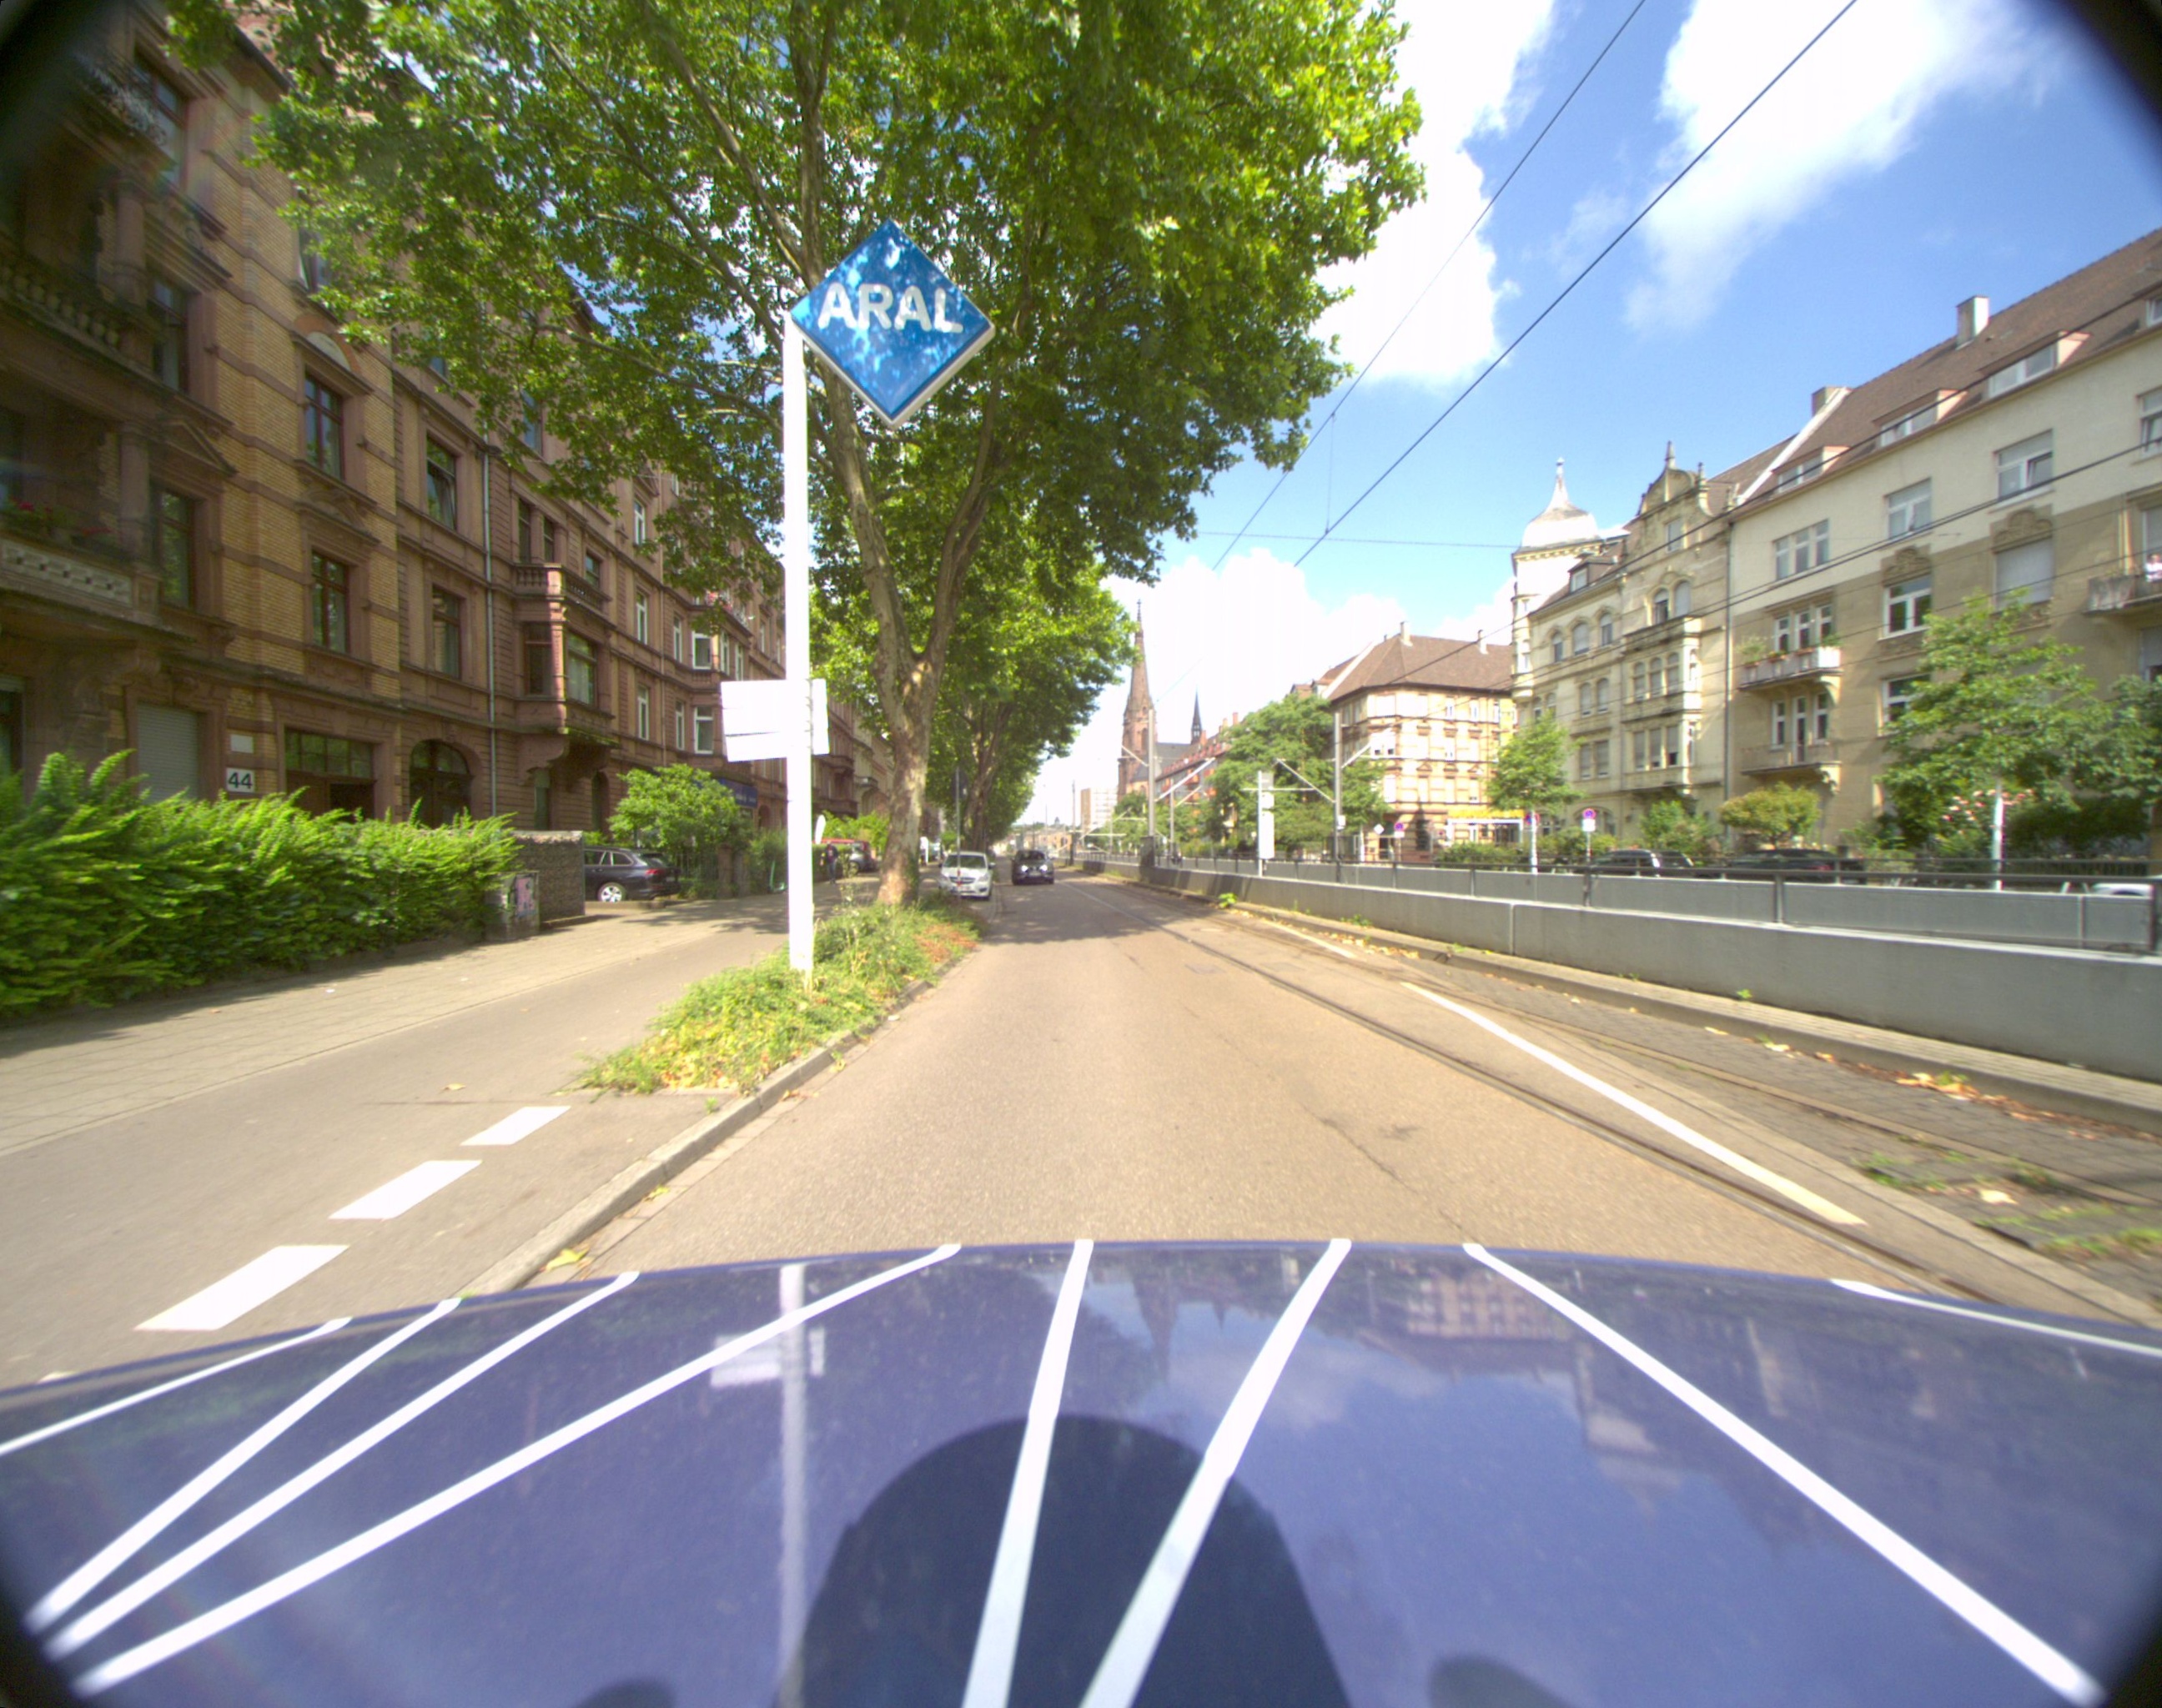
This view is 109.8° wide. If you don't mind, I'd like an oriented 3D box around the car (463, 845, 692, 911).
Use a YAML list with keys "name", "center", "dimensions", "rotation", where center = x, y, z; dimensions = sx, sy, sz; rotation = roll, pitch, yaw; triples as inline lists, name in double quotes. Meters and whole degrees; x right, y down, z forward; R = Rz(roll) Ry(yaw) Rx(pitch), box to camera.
- name: "car"
  center: [-12.116, 0.549, 18.554]
  dimensions: [4.247, 1.461, 1.940]
  rotation: [1, 1, -6]

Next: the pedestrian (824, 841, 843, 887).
- name: "pedestrian"
  center: [-9.816, 0.387, 30.140]
  dimensions: [0.566, 1.776, 0.629]
  rotation: [0, 1, -6]

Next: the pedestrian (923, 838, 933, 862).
- name: "pedestrian"
  center: [-13.151, -0.318, 65.184]
  dimensions: [0.766, 2.002, 1.118]
  rotation: [2, 1, -11]

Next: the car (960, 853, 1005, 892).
- name: "car"
  center: [-3.950, 0.705, 30.769]
  dimensions: [1.683, 1.435, 3.855]
  rotation: [0, 1, -6]

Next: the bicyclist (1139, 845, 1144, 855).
- name: "bicyclist"
  center: [9.134, -0.623, 114.777]
  dimensions: [0.505, 1.535, 0.607]
  rotation: [-1, 1, -7]

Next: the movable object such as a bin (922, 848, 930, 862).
- name: "movable object such as a bin"
  center: [-13.518, 0.065, 66.201]
  dimensions: [0.609, 1.202, 1.057]
  rotation: [2, 1, -12]

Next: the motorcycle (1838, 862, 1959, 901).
- name: "motorcycle"
  center: [21.645, 0.723, 20.164]
  dimensions: [1.766, 0.936, 1.416]
  rotation: [1, 1, -7]

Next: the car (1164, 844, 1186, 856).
- name: "car"
  center: [12.742, -0.566, 103.454]
  dimensions: [2.000, 1.628, 4.111]
  rotation: [0, 1, -6]

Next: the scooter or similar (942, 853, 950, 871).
- name: "scooter or similar"
  center: [-9.048, 0.507, 51.011]
  dimensions: [0.468, 1.204, 1.322]
  rotation: [0, 1, -6]

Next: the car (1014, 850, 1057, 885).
- name: "car"
  center: [-2.159, 0.563, 34.940]
  dimensions: [1.801, 1.454, 4.564]
  rotation: [0, 1, -5]

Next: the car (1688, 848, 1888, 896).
- name: "car"
  center: [21.305, 0.482, 23.166]
  dimensions: [2.026, 1.319, 4.097]
  rotation: [0, 1, -8]

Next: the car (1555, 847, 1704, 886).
- name: "car"
  center: [20.491, 0.409, 28.690]
  dimensions: [1.954, 1.319, 4.722]
  rotation: [0, 1, -5]

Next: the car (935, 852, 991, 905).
- name: "car"
  center: [-3.665, 0.711, 24.078]
  dimensions: [1.558, 1.477, 3.855]
  rotation: [0, 1, -6]

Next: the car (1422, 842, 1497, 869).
- name: "car"
  center: [24.278, 0.076, 48.836]
  dimensions: [3.965, 1.597, 2.033]
  rotation: [-1, 1, -15]

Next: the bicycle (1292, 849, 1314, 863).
- name: "bicycle"
  center: [16.197, 0.130, 55.588]
  dimensions: [0.778, 0.973, 2.139]
  rotation: [1, 1, -6]

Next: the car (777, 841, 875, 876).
- name: "car"
  center: [-13.382, 0.247, 40.192]
  dimensions: [4.738, 1.772, 2.003]
  rotation: [1, 1, -14]

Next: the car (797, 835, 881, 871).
- name: "car"
  center: [-14.503, -0.048, 45.681]
  dimensions: [4.410, 1.927, 1.982]
  rotation: [3, 0, -6]

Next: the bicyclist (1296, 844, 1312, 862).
- name: "bicyclist"
  center: [16.219, -0.082, 55.349]
  dimensions: [0.770, 1.330, 1.048]
  rotation: [1, 1, -6]

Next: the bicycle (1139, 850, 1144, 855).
- name: "bicycle"
  center: [9.124, -0.238, 114.942]
  dimensions: [0.497, 0.764, 1.815]
  rotation: [-1, 1, -7]

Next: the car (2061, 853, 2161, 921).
- name: "car"
  center: [22.272, 0.661, 14.334]
  dimensions: [1.757, 1.320, 4.309]
  rotation: [0, 1, -8]
